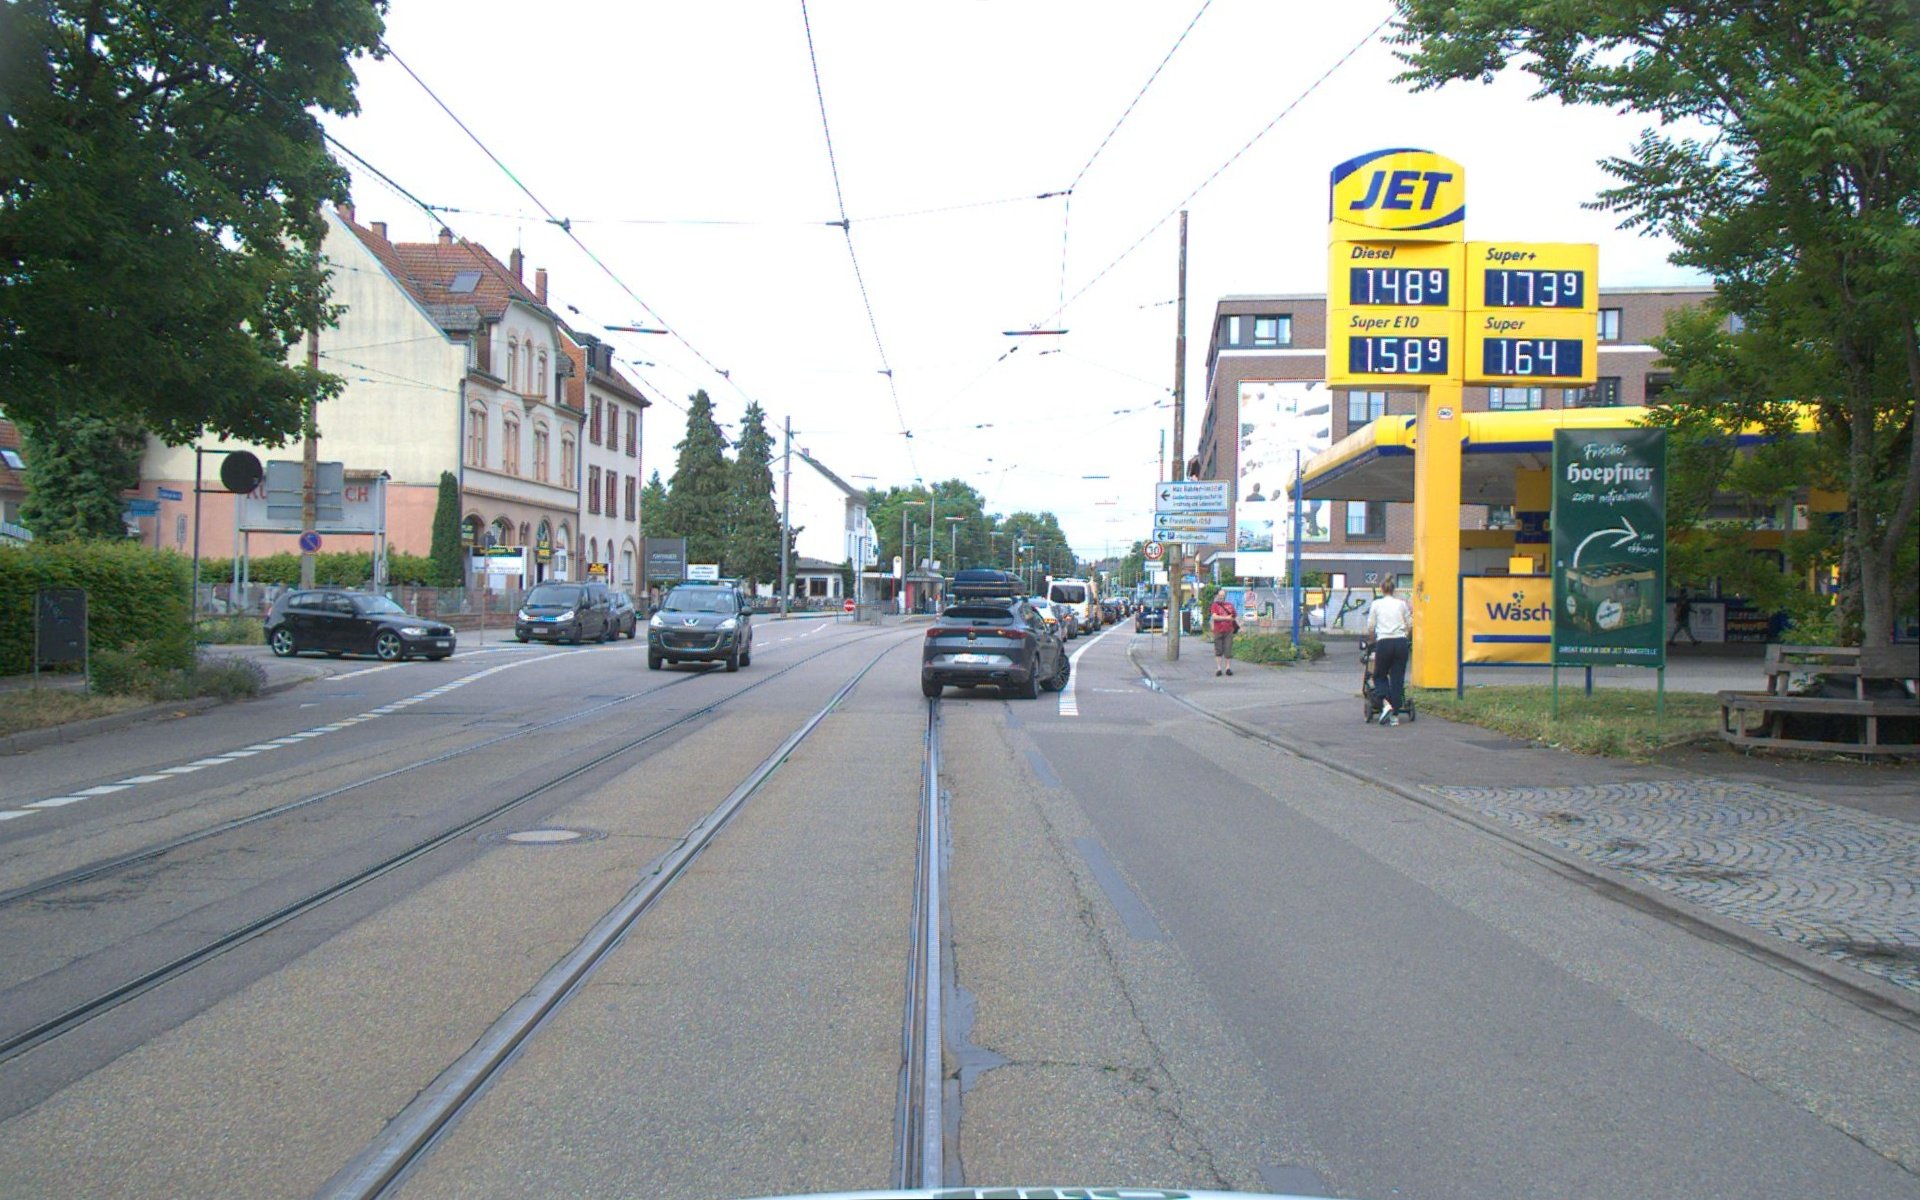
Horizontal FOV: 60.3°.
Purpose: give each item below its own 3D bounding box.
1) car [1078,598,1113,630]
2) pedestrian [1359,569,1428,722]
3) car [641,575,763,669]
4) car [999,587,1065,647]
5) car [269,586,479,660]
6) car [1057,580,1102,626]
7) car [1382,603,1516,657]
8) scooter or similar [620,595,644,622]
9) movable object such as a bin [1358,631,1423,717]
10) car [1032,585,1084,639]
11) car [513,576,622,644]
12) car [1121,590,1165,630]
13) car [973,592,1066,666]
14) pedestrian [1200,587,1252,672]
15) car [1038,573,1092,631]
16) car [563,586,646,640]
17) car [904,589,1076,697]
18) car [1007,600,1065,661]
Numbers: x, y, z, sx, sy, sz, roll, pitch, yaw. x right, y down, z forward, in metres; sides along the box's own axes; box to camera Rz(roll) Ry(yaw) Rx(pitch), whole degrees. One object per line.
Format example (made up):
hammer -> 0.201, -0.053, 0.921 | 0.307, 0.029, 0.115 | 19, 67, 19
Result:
car -> 9.181, 0.960, 112.528 | 1.953, 2.049, 3.999 | 2, -1, -1
pedestrian -> 5.344, 0.552, 20.456 | 0.751, 1.828, 1.163 | -2, -1, 13
car -> -5.139, 0.427, 33.504 | 1.790, 1.768, 4.334 | 0, 0, 0
car -> 2.263, 0.533, 52.851 | 1.928, 1.787, 3.838 | 2, -1, 1
car -> -12.160, 0.456, 34.344 | 3.838, 1.412, 1.802 | 1, 0, 20
car -> 6.027, 0.185, 83.902 | 2.095, 2.183, 4.745 | 2, -1, 2
car -> 14.278, 0.848, 48.561 | 1.910, 1.452, 4.877 | 0, 0, -8
scooter or similar -> -15.326, 0.414, 77.223 | 1.039, 1.209, 0.315 | 2, -1, -33
movable object such as a bin -> 5.544, 0.942, 21.346 | 0.751, 1.057, 1.025 | -2, -1, 13
car -> 3.937, 0.480, 66.778 | 1.952, 2.049, 4.001 | 2, -1, 3
car -> -12.046, 0.316, 51.101 | 1.950, 1.920, 4.999 | 2, -1, 2
car -> 9.105, 0.515, 82.673 | 1.835, 1.855, 4.097 | 2, -1, 2
car -> 1.344, 0.639, 38.856 | 1.941, 1.577, 4.183 | 2, 0, -1
pedestrian -> 5.635, 0.619, 35.125 | 0.951, 1.769, 0.861 | -1, -1, 2
car -> 4.694, 0.124, 74.491 | 2.170, 2.465, 4.952 | 2, -1, 2
car -> -12.232, 0.454, 57.121 | 1.806, 1.748, 4.193 | 2, -1, 1
car -> 0.579, 0.670, 26.713 | 1.948, 1.523, 4.329 | 2, -1, 12
car -> 2.722, 1.085, 59.932 | 1.952, 2.049, 4.001 | 2, -1, 2
